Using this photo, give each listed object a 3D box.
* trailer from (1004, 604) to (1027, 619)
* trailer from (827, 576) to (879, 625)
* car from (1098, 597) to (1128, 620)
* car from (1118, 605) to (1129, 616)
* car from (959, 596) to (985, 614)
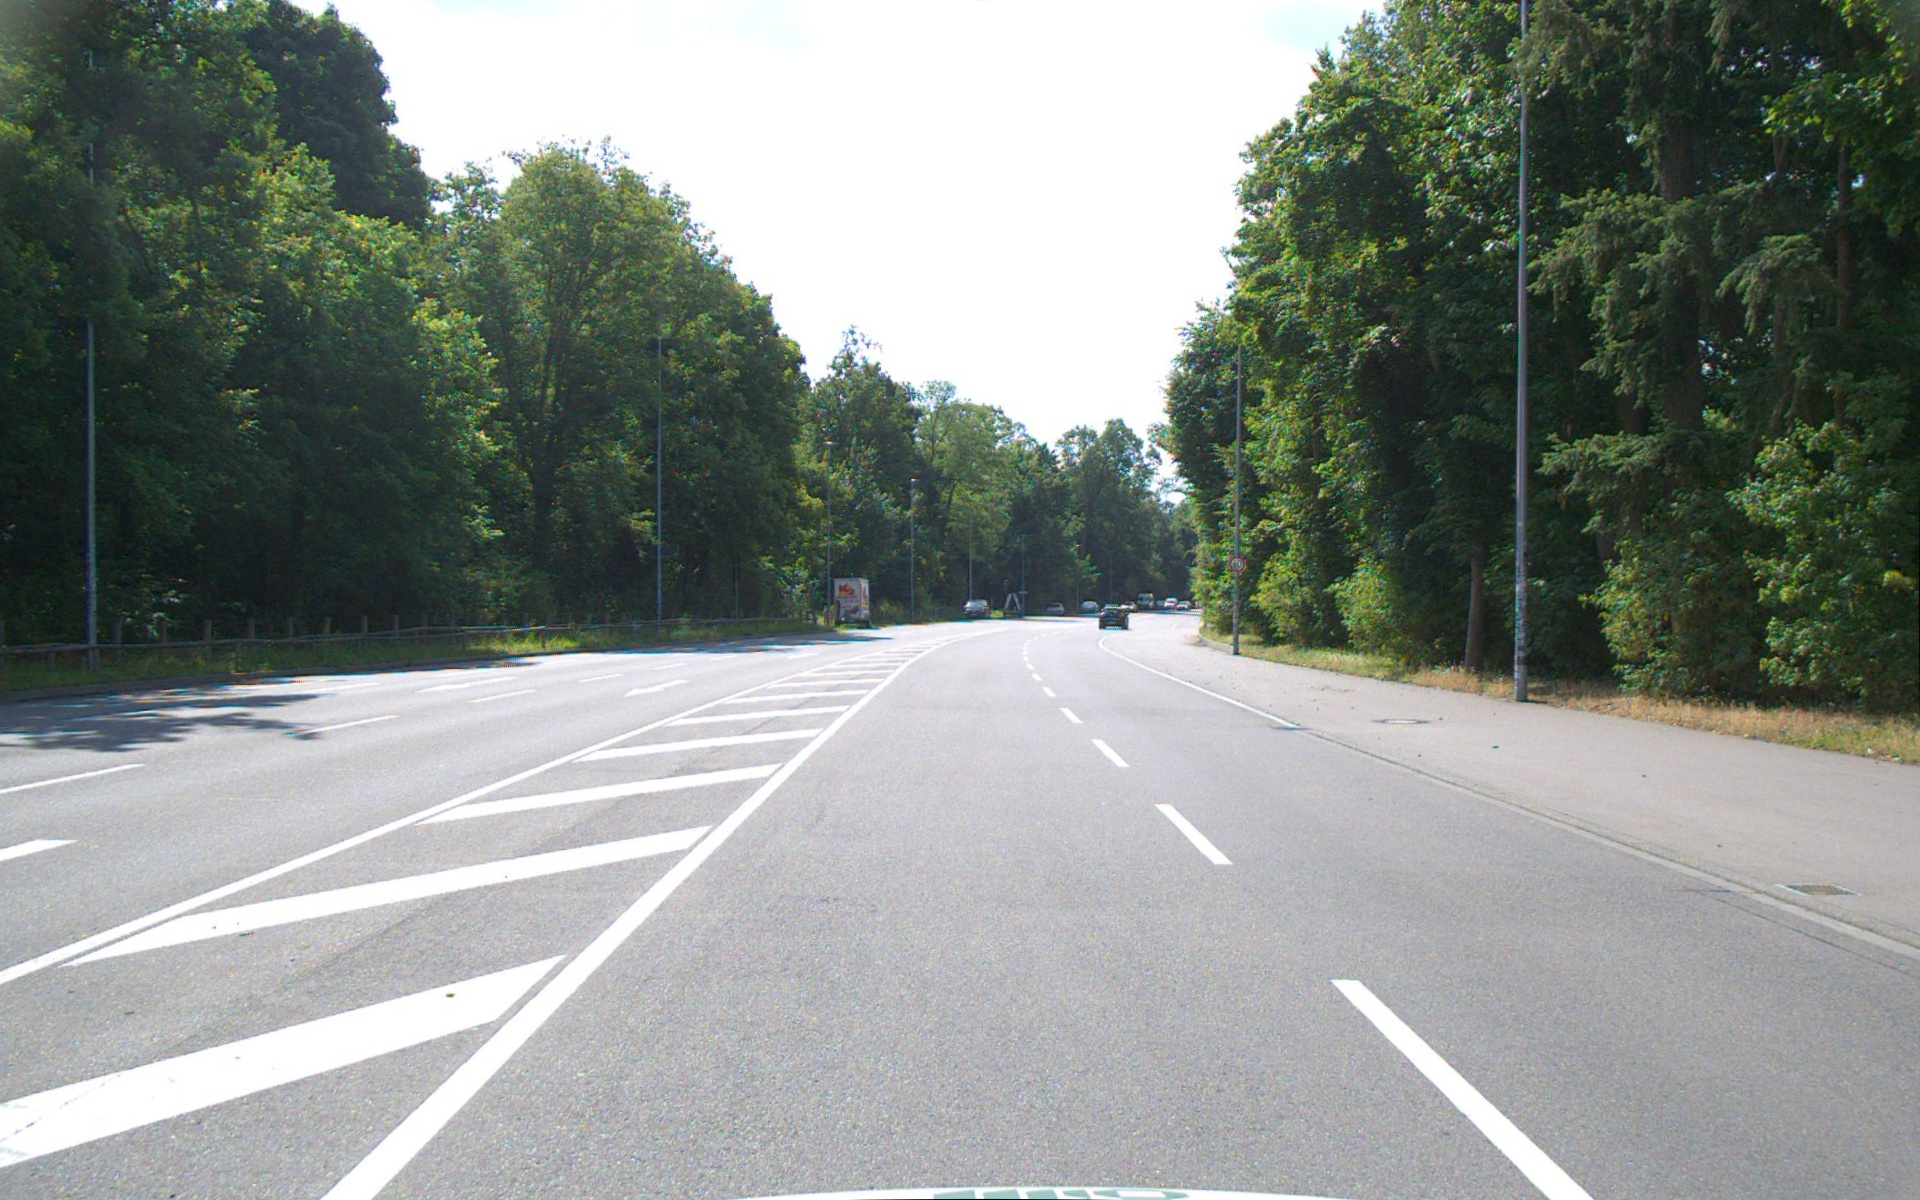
[{"bbox_3d":[5.252,1.063,156.404,1.680,1.378,3.735,1,0,11],"label":"trailer"},{"bbox_3d":[-5.526,0.017,85.557,1.951,2.430,4.003,1,0,6],"label":"trailer"},{"bbox_3d":[10.064,0.565,108.464,1.563,1.402,3.979,1,0,11],"label":"car"},{"bbox_3d":[22.232,1.447,224.564,1.471,1.472,3.531,1,0,5],"label":"car"},{"bbox_3d":[0.998,0.408,133.909,1.471,1.472,3.532,1,0,11],"label":"car"}]
